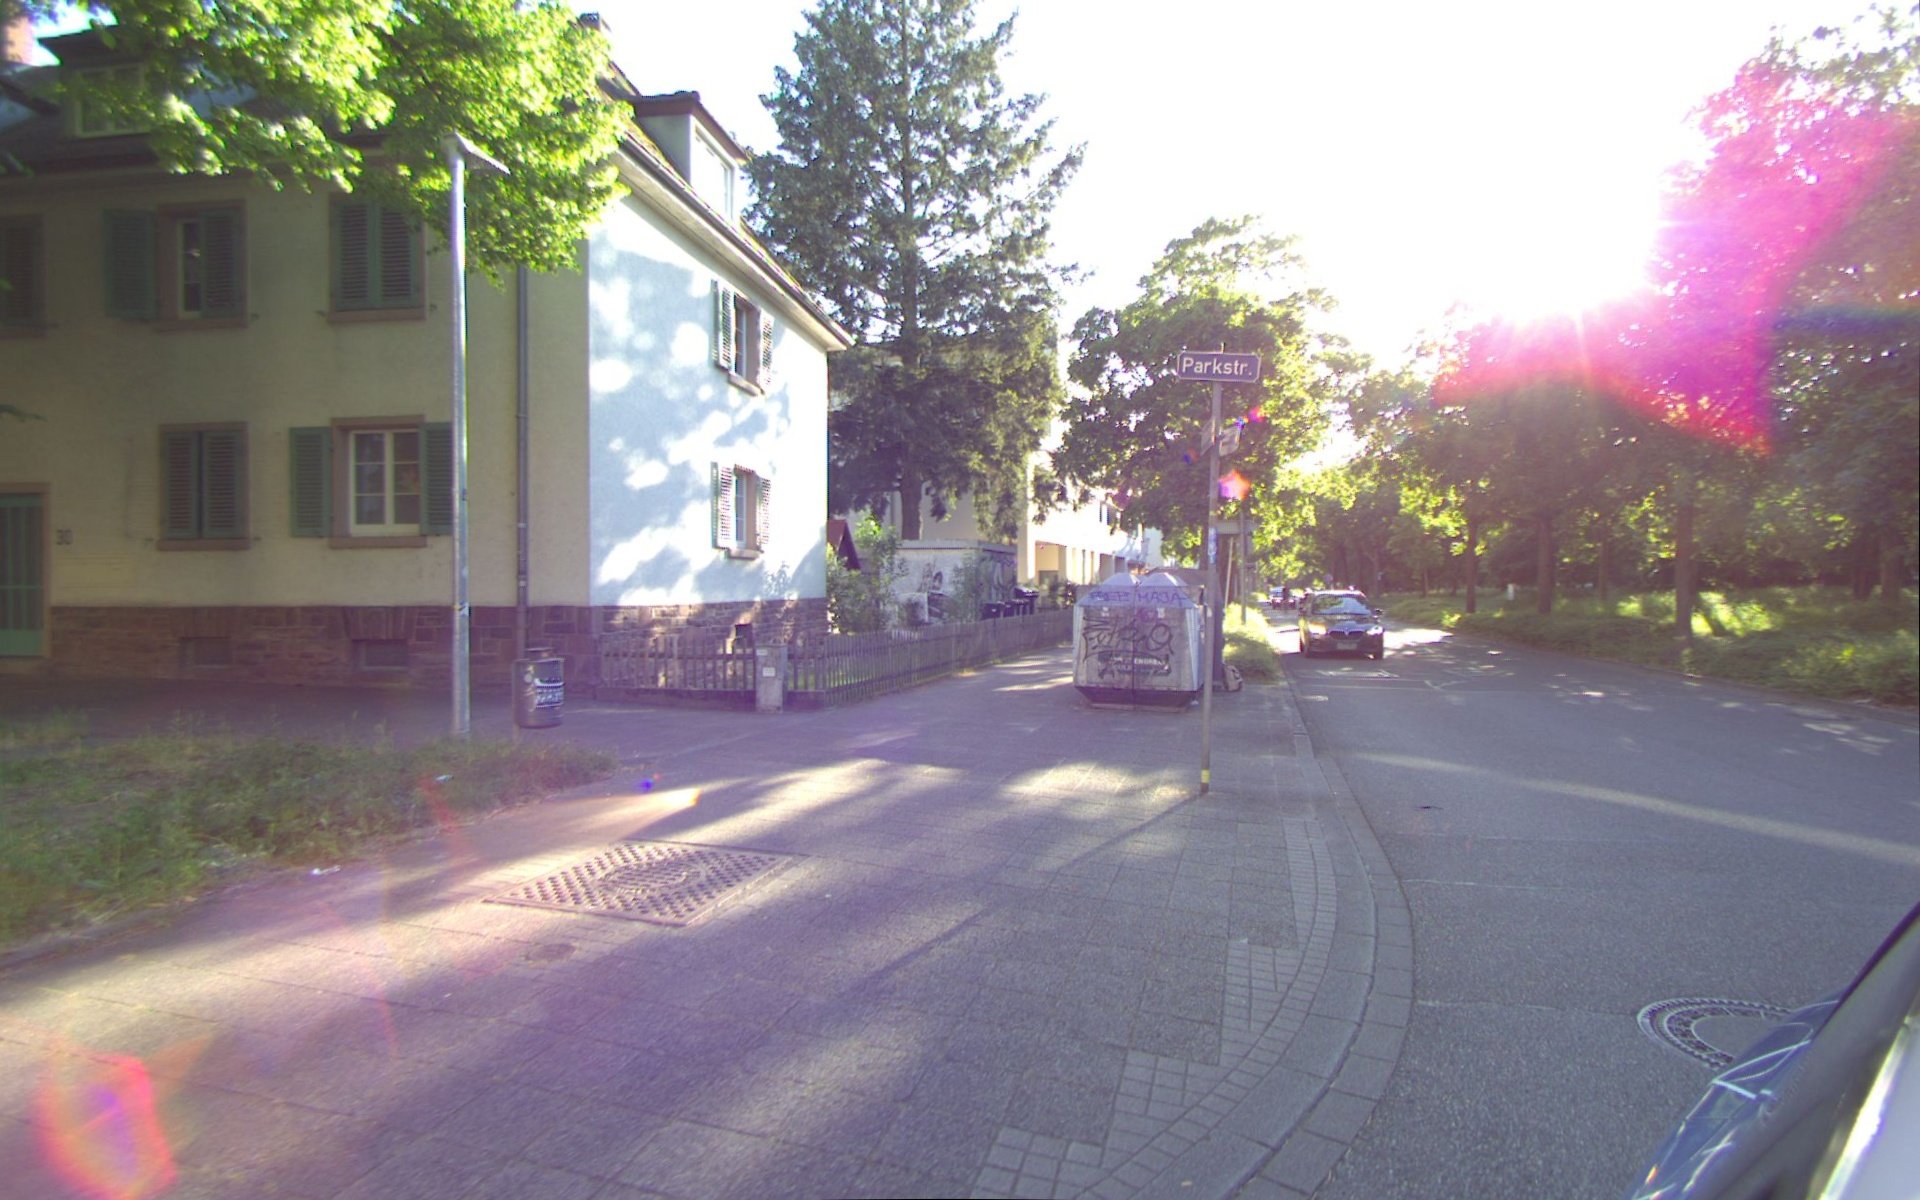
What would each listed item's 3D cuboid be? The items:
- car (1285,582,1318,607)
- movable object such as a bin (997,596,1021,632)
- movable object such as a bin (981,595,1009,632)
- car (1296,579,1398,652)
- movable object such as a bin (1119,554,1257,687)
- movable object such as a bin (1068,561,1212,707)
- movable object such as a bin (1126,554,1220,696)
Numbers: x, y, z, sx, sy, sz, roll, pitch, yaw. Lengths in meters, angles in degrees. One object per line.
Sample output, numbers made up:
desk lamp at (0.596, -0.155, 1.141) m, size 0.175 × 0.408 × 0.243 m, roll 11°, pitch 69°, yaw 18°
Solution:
car at (22.680, -0.367, 67.232) m, size 1.973 × 1.559 × 3.977 m, roll -2°, pitch 0°, yaw 18°
movable object such as a bin at (1.483, 0.418, 30.681) m, size 0.607 × 1.042 × 0.592 m, roll 1°, pitch 1°, yaw 16°
movable object such as a bin at (1.005, 0.376, 29.019) m, size 0.636 × 1.042 × 0.642 m, roll 1°, pitch 1°, yaw 16°
car at (9.636, 0.326, 25.537) m, size 1.863 × 1.642 × 4.598 m, roll -2°, pitch 0°, yaw 15°
movable object such as a bin at (3.469, 0.305, 15.317) m, size 1.900 × 1.877 × 1.386 m, roll -2°, pitch 0°, yaw 17°
movable object such as a bin at (2.288, 0.393, 12.618) m, size 1.569 × 1.678 × 1.632 m, roll -2°, pitch 0°, yaw 16°
movable object such as a bin at (2.978, 0.333, 14.024) m, size 1.135 × 1.850 × 1.379 m, roll -2°, pitch 0°, yaw 16°
